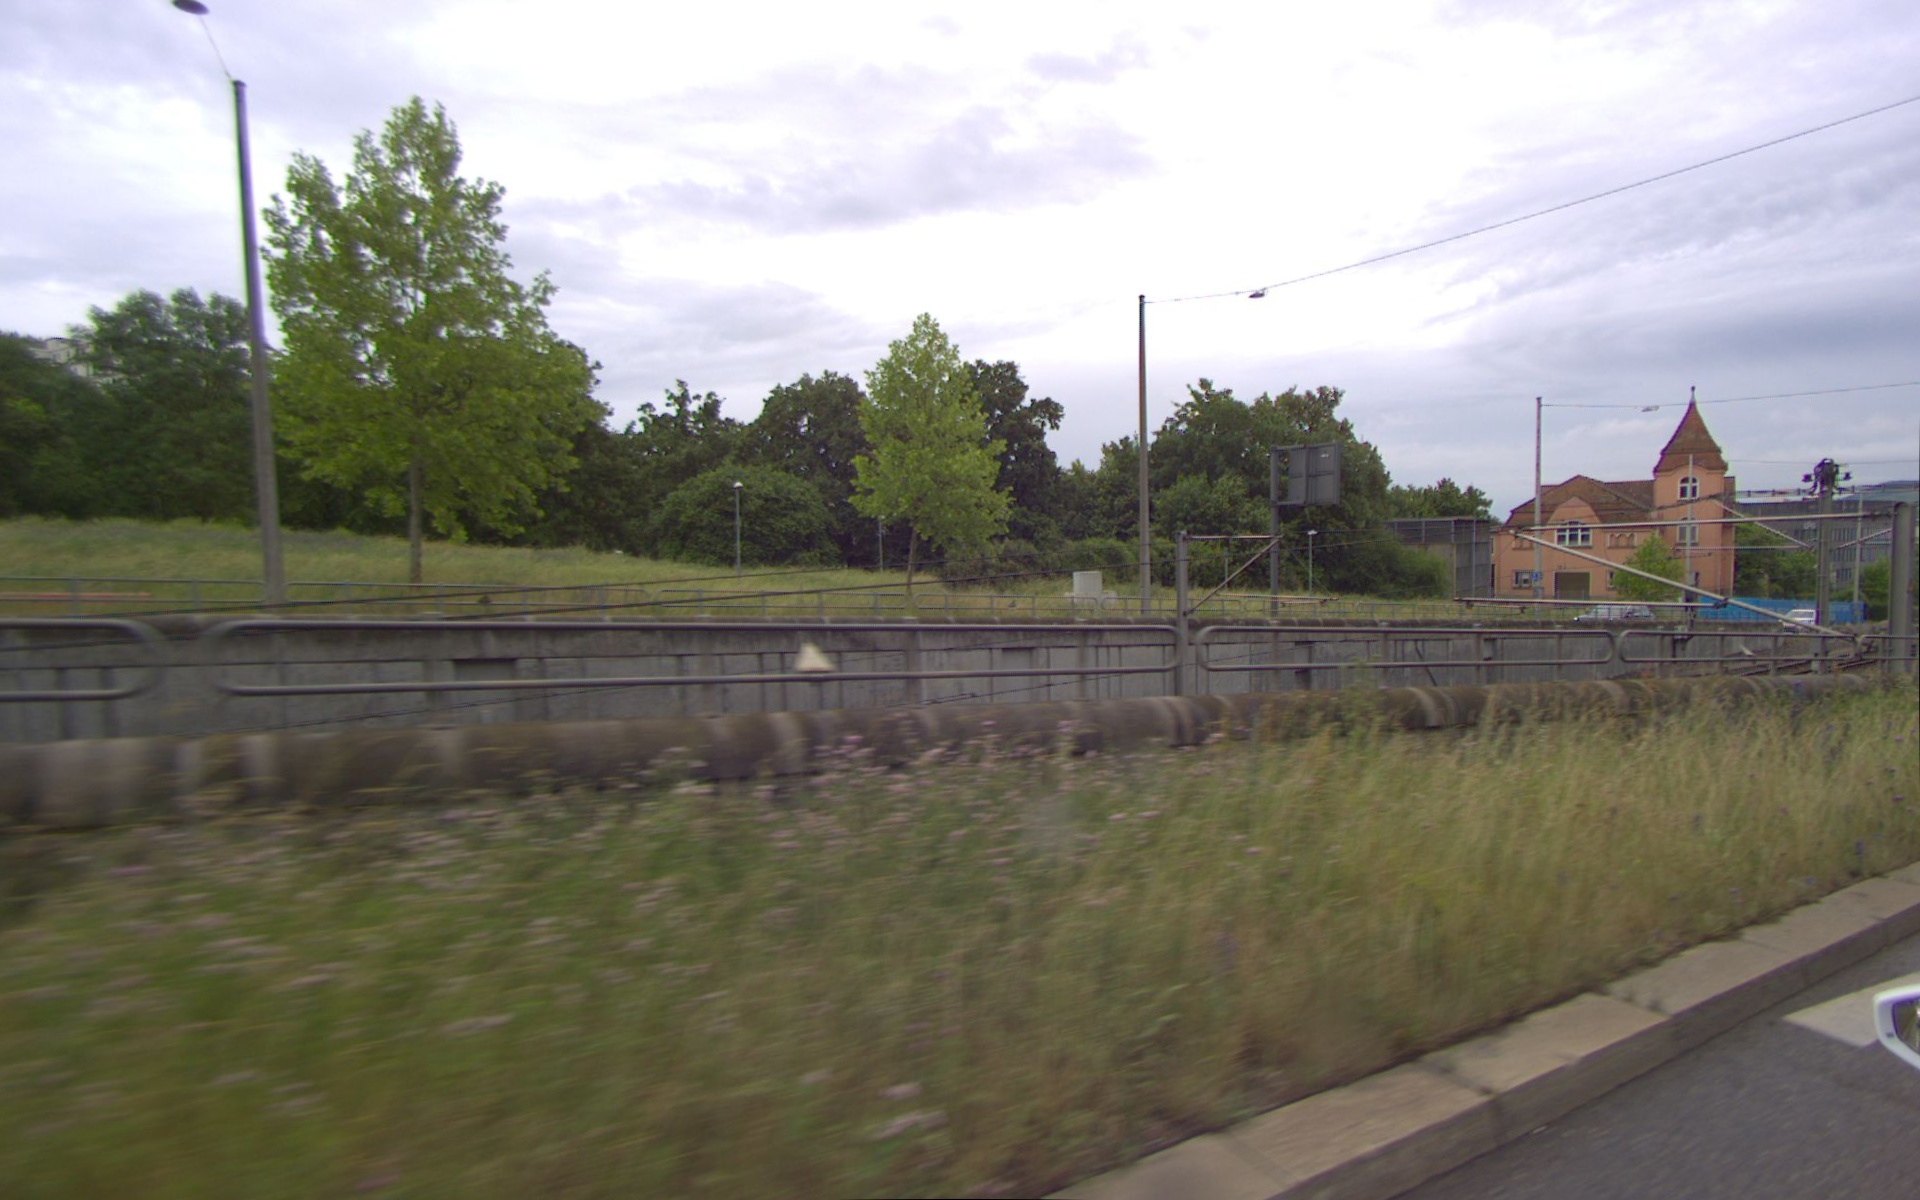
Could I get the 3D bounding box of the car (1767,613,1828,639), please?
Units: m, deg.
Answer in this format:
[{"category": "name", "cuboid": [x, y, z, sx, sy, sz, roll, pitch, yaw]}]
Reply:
[{"category": "car", "cuboid": [47.508, 1.468, 56.964, 3.518, 1.309, 1.547, 0, 3, -31]}]
